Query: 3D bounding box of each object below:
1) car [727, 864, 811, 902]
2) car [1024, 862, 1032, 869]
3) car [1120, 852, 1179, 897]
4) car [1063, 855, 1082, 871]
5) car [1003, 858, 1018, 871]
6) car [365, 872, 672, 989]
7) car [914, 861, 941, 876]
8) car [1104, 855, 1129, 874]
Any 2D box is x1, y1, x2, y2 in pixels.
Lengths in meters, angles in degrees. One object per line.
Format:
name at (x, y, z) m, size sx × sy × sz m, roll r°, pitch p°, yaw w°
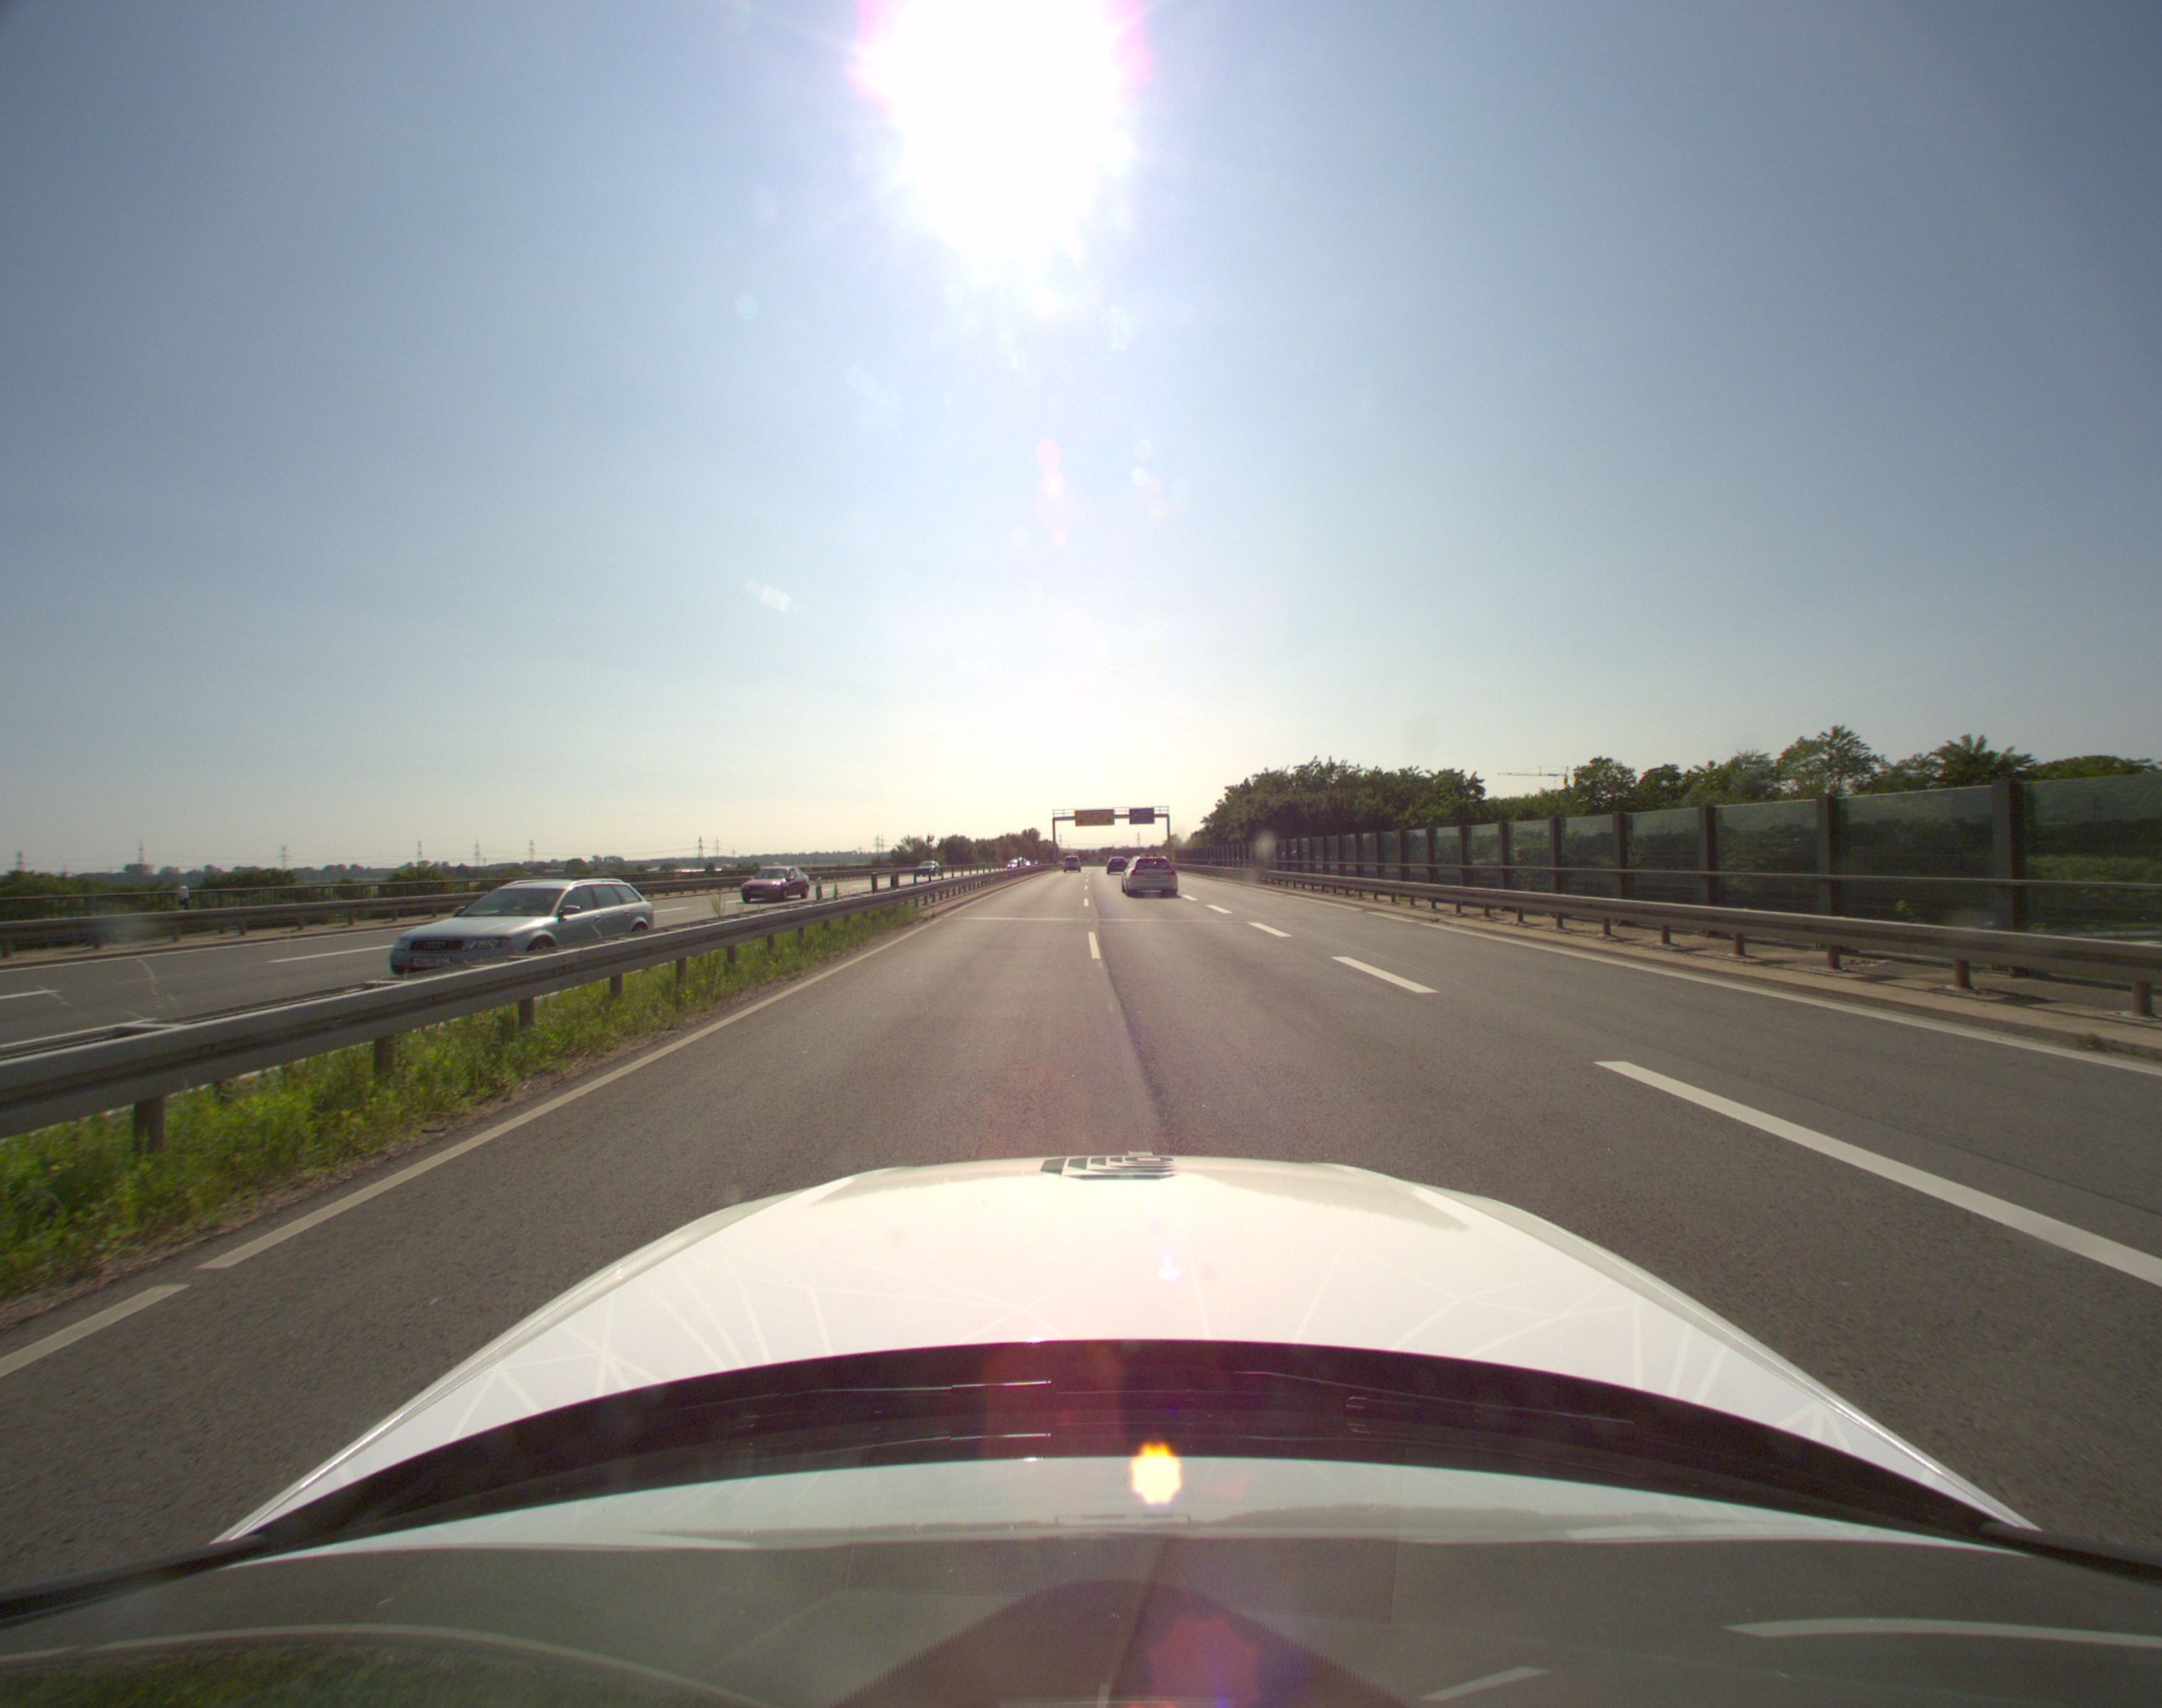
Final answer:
car at (-12.804, 1.145, 33.695) m, size 1.819 × 1.428 × 4.528 m, roll 0°, pitch 0°, yaw -2°
car at (-11.091, 2.384, 170.495) m, size 1.561 × 1.270 × 3.715 m, roll -1°, pitch 0°, yaw 0°
car at (2.508, 0.733, 30.877) m, size 1.951 × 1.601 × 4.107 m, roll 0°, pitch 0°, yaw 1°
car at (-0.792, 0.891, 79.055) m, size 1.787 × 1.503 × 4.043 m, roll -1°, pitch -1°, yaw 0°
car at (-8.395, 1.254, 96.834) m, size 1.547 × 1.417 × 3.667 m, roll 0°, pitch 0°, yaw -1°
car at (-8.626, 1.067, 13.112) m, size 1.868 × 1.438 × 4.500 m, roll 0°, pitch 0°, yaw -1°
car at (-14.608, 1.393, 77.812) m, size 1.774 × 1.384 × 3.999 m, roll 0°, pitch 0°, yaw 0°
car at (2.873, 0.865, 66.997) m, size 1.788 × 1.543 × 3.669 m, roll 0°, pitch -1°, yaw -1°
